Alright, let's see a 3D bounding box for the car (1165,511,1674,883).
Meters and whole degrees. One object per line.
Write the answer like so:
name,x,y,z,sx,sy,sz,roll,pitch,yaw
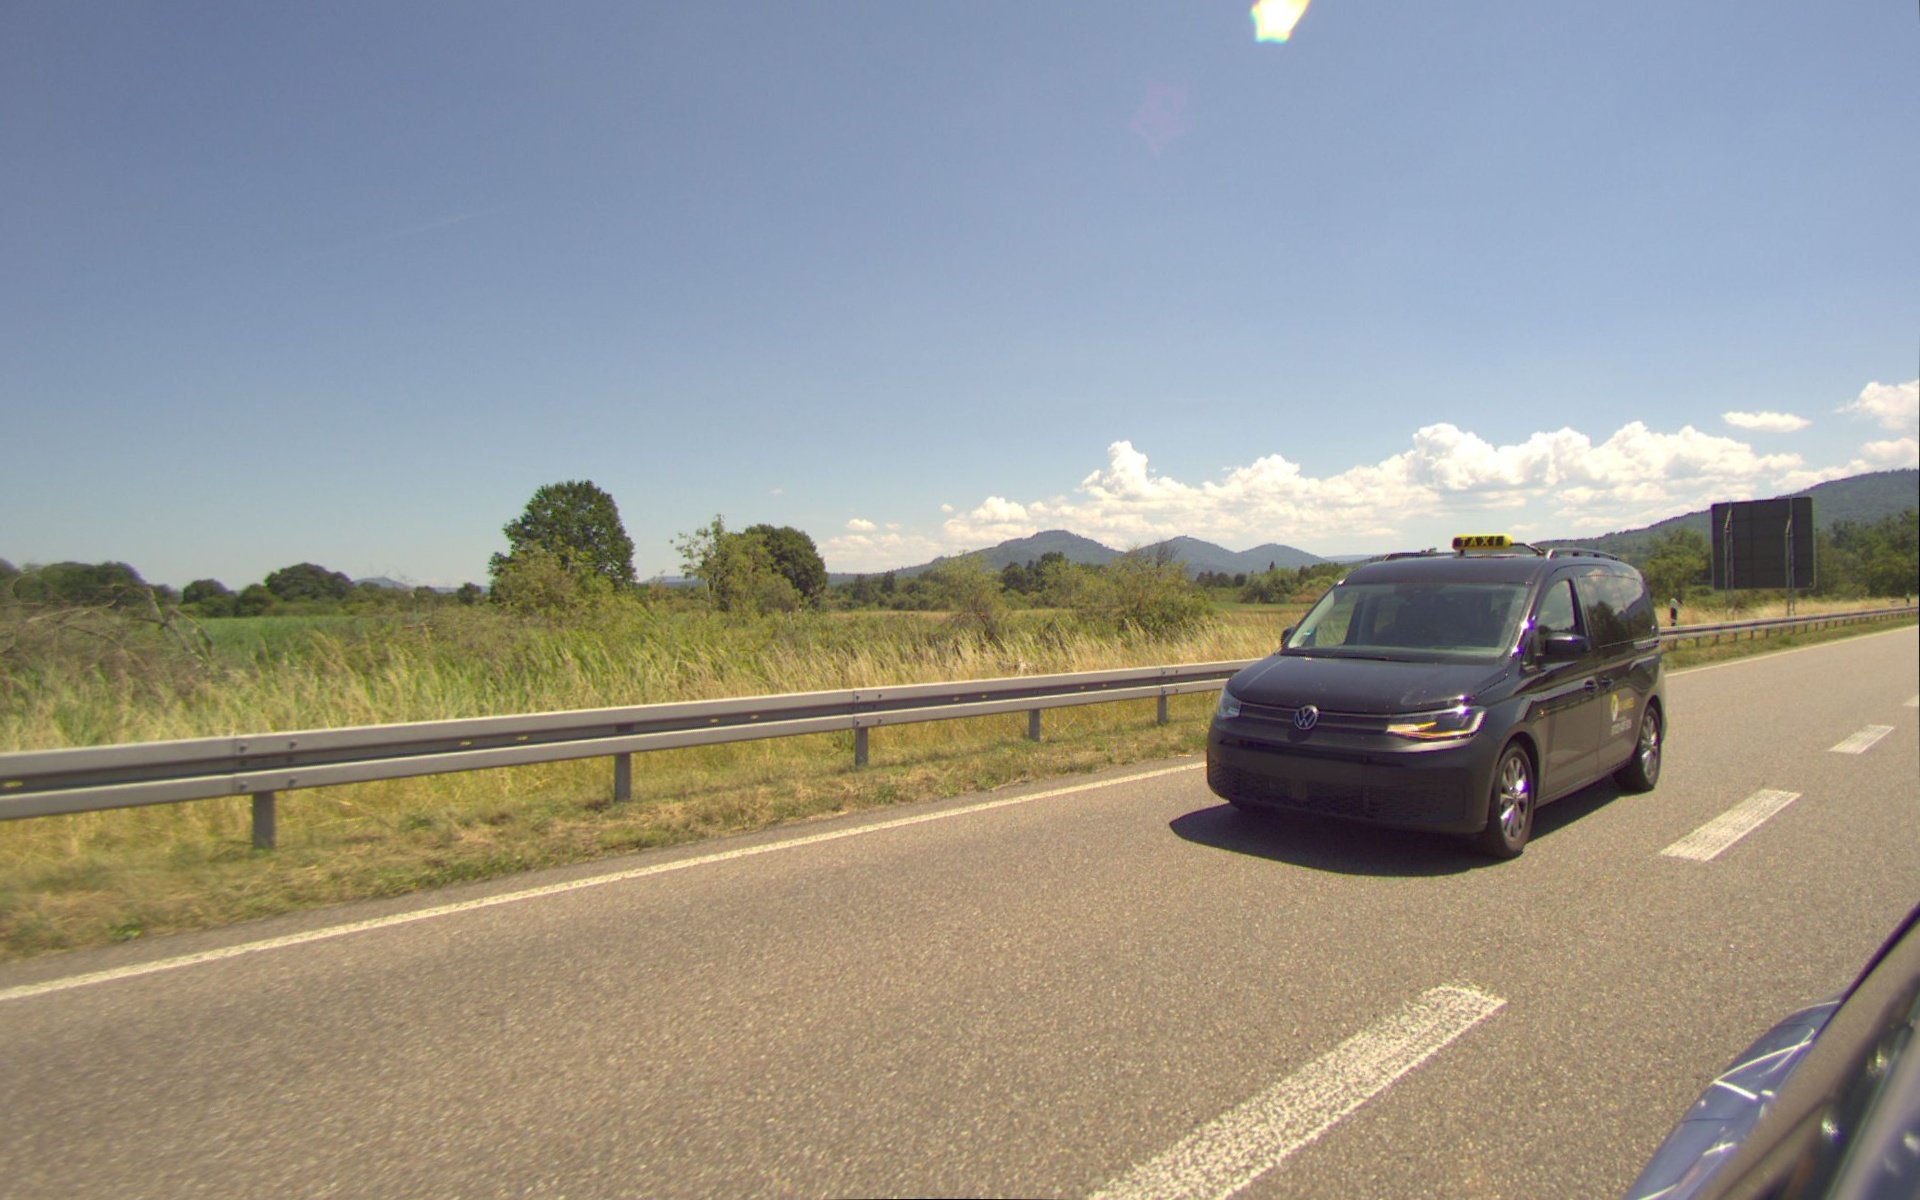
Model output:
car,3.397,0.447,7.073,4.142,1.840,1.782,-1,1,-43
